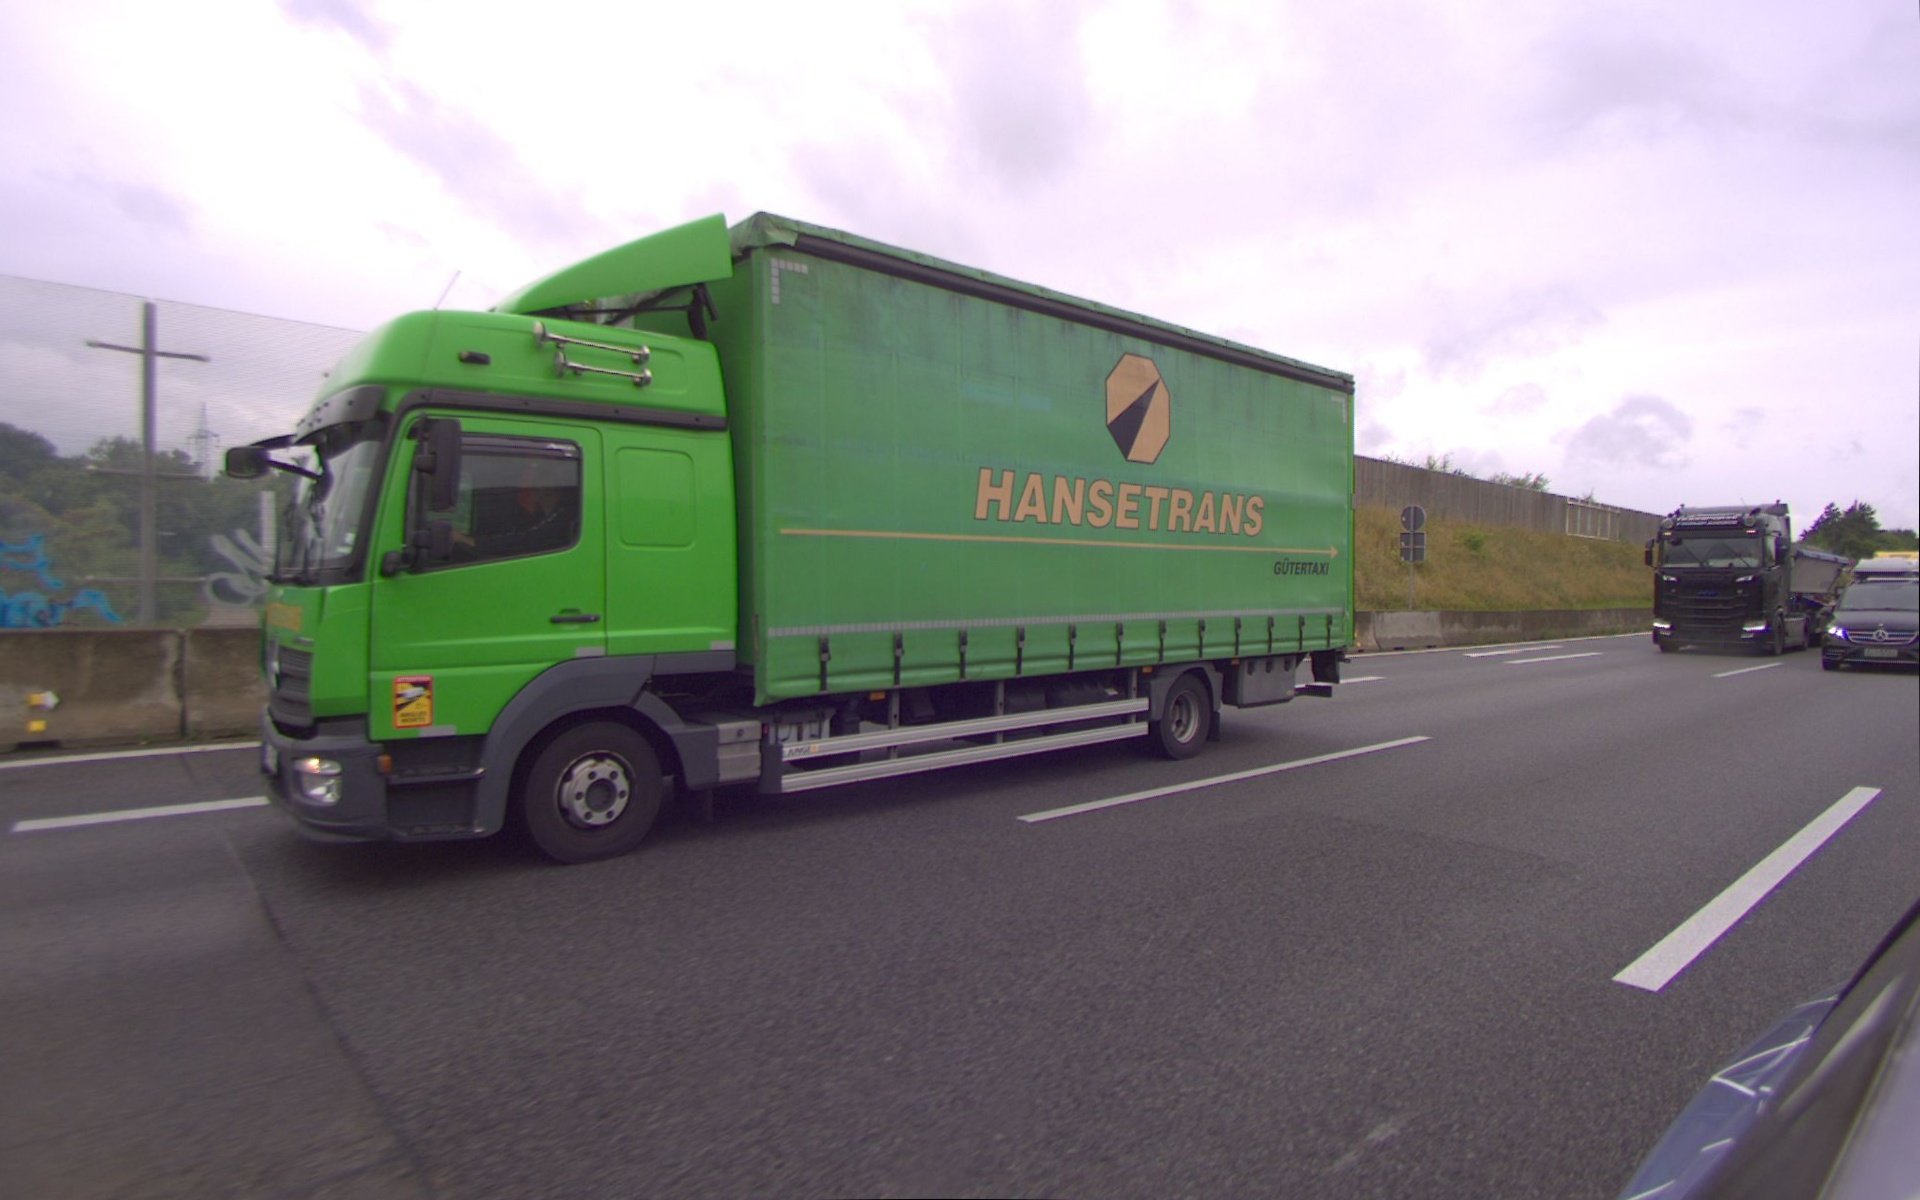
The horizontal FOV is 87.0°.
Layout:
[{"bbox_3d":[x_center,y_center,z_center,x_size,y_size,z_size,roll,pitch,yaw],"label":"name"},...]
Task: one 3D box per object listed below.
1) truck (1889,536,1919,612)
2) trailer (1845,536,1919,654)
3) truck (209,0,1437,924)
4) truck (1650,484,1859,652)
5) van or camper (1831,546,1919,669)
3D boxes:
[{"bbox_3d":[54.522,-1.406,56.934,9.170,4.008,2.688,0,0,-43],"label":"truck"},{"bbox_3d":[24.639,-0.105,25.451,7.383,2.675,2.725,0,2,-42],"label":"trailer"},{"bbox_3d":[0.004,-1.348,9.440,11.024,5.332,4.004,0,0,-41],"label":"truck"},{"bbox_3d":[23.377,-0.849,29.348,12.500,3.999,2.816,0,2,-43],"label":"truck"},{"bbox_3d":[19.812,0.144,21.048,5.582,2.298,1.893,0,0,-42],"label":"van or camper"}]
